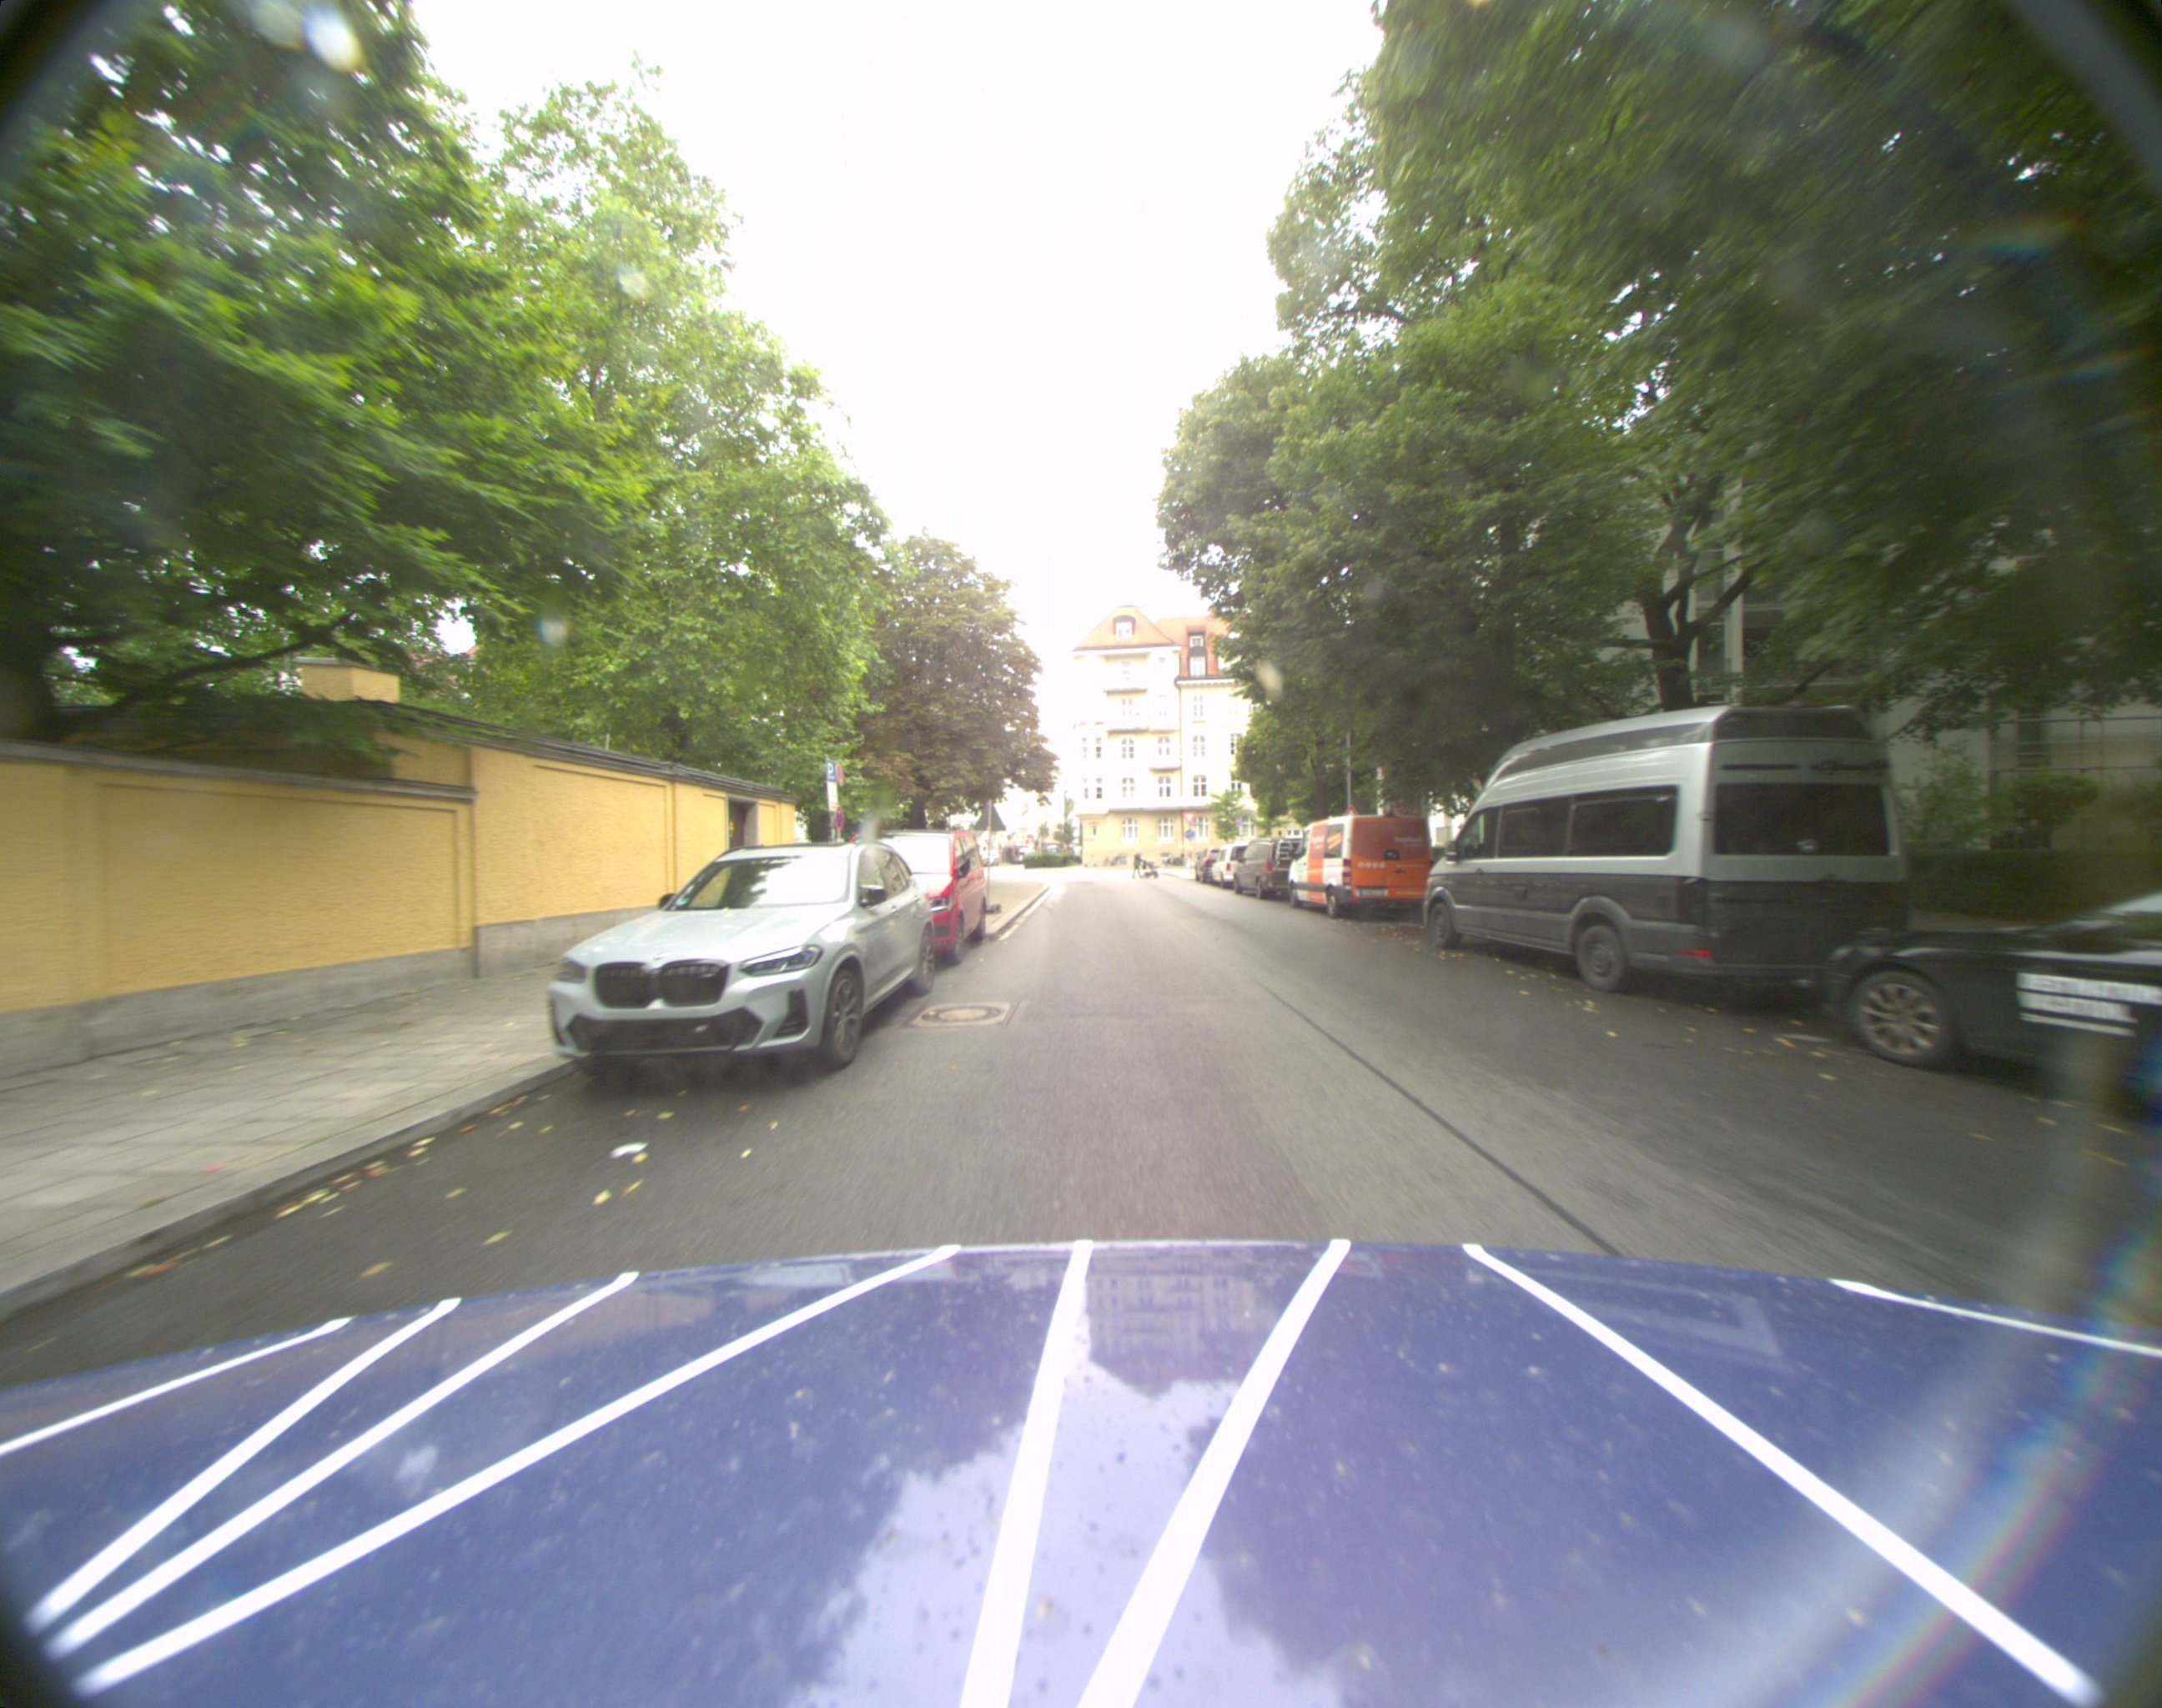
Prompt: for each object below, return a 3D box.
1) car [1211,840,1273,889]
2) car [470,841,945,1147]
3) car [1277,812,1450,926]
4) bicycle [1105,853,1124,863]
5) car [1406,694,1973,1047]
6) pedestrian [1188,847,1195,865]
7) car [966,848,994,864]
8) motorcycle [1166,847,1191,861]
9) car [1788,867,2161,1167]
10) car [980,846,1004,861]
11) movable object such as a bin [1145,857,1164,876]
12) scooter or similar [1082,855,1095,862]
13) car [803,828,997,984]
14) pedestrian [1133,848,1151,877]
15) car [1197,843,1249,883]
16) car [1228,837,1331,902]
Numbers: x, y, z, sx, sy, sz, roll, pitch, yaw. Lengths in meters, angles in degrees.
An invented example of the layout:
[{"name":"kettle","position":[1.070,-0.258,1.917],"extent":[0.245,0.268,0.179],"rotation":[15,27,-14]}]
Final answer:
[{"name":"car","position":[6.750,0.408,32.337],"extent":[1.884,1.926,4.834],"rotation":[0,0,4]},{"name":"car","position":[-2.599,0.799,6.762],"extent":[1.863,1.731,4.602],"rotation":[-2,1,0]},{"name":"car","position":[6.582,0.296,18.509],"extent":[2.120,2.335,5.407],"rotation":[-1,0,-1]},{"name":"bicycle","position":[3.271,0.396,73.221],"extent":[1.783,0.986,0.543],"rotation":[-1,2,4]},{"name":"car","position":[6.261,0.064,9.288],"extent":[1.950,2.838,6.234],"rotation":[-1,2,1]},{"name":"pedestrian","position":[10.359,0.202,71.495],"extent":[0.606,1.655,0.463],"rotation":[0,2,13]},{"name":"car","position":[-12.766,0.211,96.293],"extent":[2.156,1.902,4.774],"rotation":[0,2,8]},{"name":"motorcycle","position":[9.259,-0.004,72.150],"extent":[2.243,1.319,0.824],"rotation":[-1,2,5]},{"name":"car","position":[6.231,0.824,3.488],"extent":[1.794,1.429,4.578],"rotation":[-1,0,1]},{"name":"car","position":[-11.919,-0.084,102.524],"extent":[2.052,1.928,4.578],"rotation":[0,2,9]},{"name":"movable object such as a bin","position":[4.181,0.702,43.336],"extent":[0.900,1.078,0.777],"rotation":[-1,2,-7]},{"name":"scooter or similar","position":[0.698,0.450,73.261],"extent":[1.235,0.683,0.316],"rotation":[-2,2,-20]},{"name":"car","position":[-2.606,0.646,12.415],"extent":[1.863,1.956,5.444],"rotation":[-1,0,0]},{"name":"pedestrian","position":[3.453,0.467,43.166],"extent":[0.863,1.610,0.593],"rotation":[-1,2,-7]},{"name":"car","position":[6.919,0.370,37.509],"extent":[1.884,1.758,5.059],"rotation":[-1,2,4]},{"name":"car","position":[6.445,0.445,25.368],"extent":[1.950,1.952,5.458],"rotation":[0,0,-1]}]
